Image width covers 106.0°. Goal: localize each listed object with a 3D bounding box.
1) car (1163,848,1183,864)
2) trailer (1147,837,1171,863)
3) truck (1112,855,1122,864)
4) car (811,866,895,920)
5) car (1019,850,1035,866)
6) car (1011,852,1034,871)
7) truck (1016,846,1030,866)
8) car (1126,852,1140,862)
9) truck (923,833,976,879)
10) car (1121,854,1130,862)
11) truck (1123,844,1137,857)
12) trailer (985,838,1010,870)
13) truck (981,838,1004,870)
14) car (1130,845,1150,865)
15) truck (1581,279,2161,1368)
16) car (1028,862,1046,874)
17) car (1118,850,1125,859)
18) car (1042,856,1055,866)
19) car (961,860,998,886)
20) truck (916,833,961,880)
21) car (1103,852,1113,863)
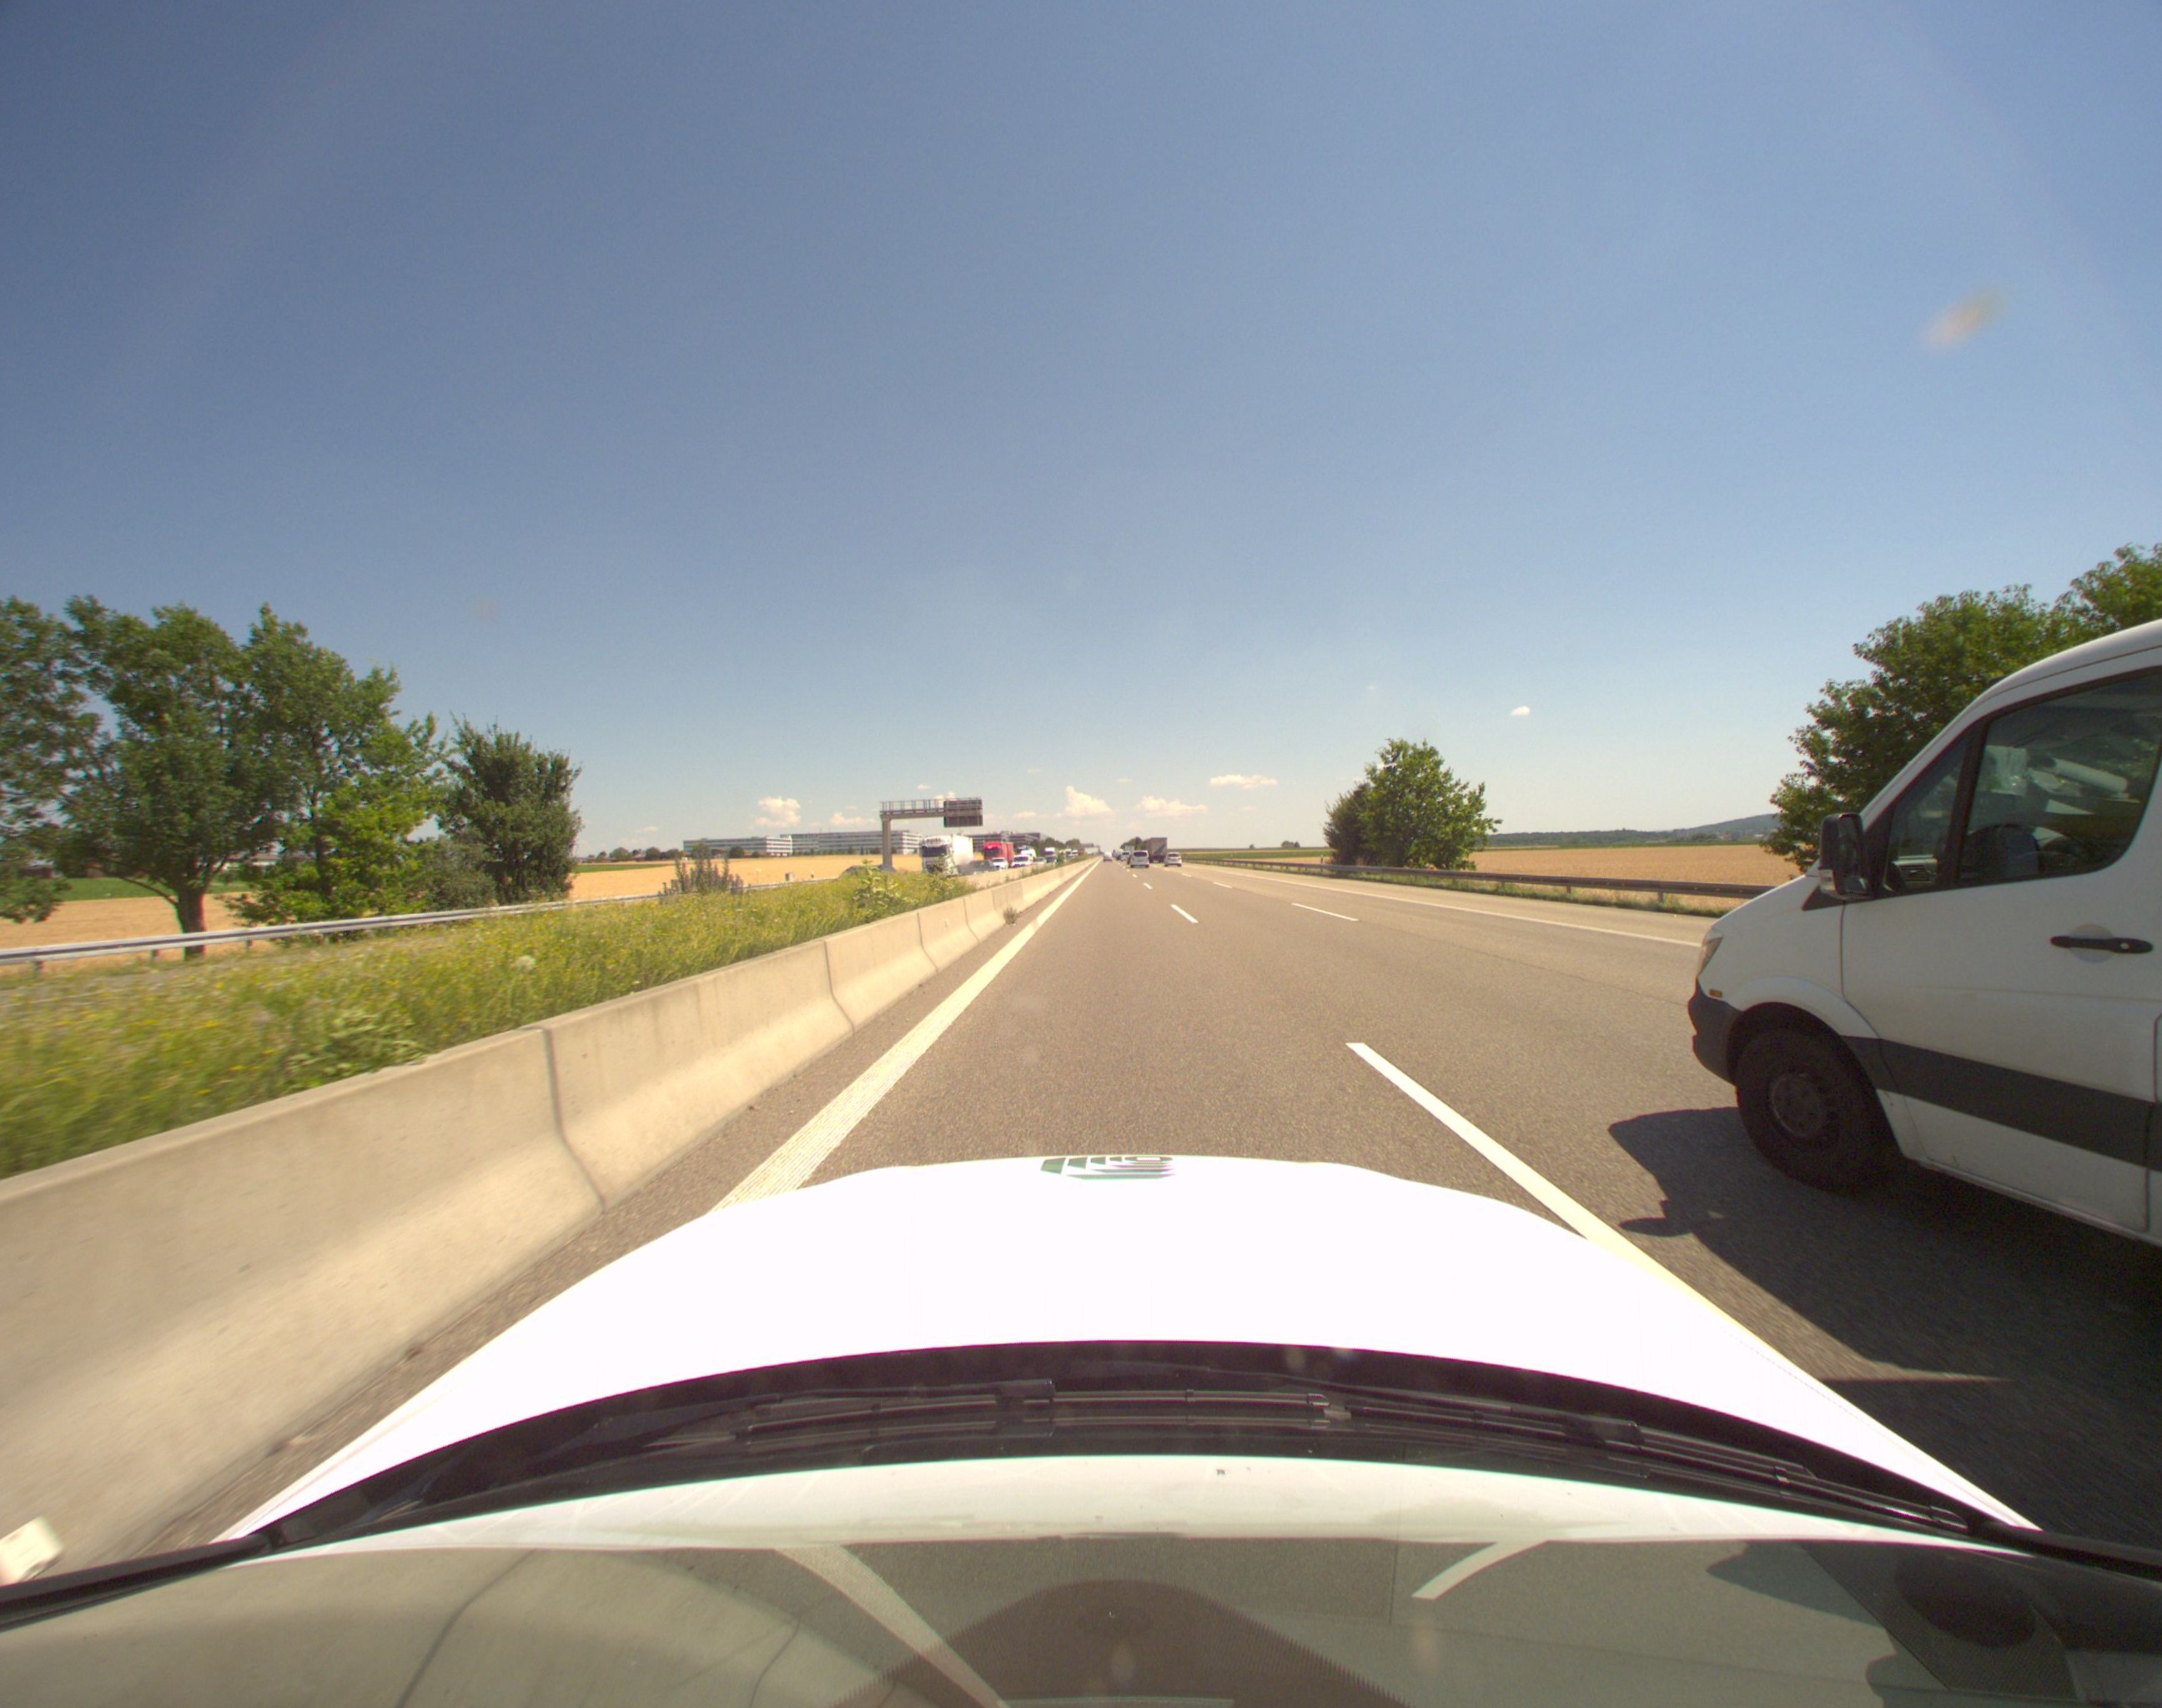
[{"bbox_3d":[10.719,0.245,94.941,1.986,1.794,4.001,-1,-1,2],"label":"car"},{"bbox_3d":[12.848,-0.576,134.465,3.265,3.967,9.115,-1,-1,2],"label":"trailer"},{"bbox_3d":[8.179,1.311,185.103,2.204,2.013,4.972,-2,0,1],"label":"truck"},{"bbox_3d":[-7.203,1.185,26.057,1.534,1.487,3.774,-2,0,1],"label":"car"},{"bbox_3d":[-8.143,0.593,123.589,1.853,2.336,5.708,-2,0,1],"label":"car"},{"bbox_3d":[-5.709,0.740,79.678,1.810,1.753,4.994,-2,0,1],"label":"car"},{"bbox_3d":[-11.218,0.405,157.796,2.102,3.600,7.122,-2,0,1],"label":"truck"},{"bbox_3d":[7.589,0.457,119.159,1.767,1.447,4.001,-1,-1,2],"label":"car"},{"bbox_3d":[-13.316,0.192,83.767,2.939,4.158,12.870,-3,0,1],"label":"truck"},{"bbox_3d":[9.028,0.814,164.531,1.767,1.447,4.001,-1,-1,2],"label":"car"},{"bbox_3d":[15.519,-1.047,257.623,3.802,3.905,9.583,-2,0,1],"label":"truck"},{"bbox_3d":[-12.784,-0.020,125.653,2.766,4.598,8.603,-2,0,1],"label":"trailer"},{"bbox_3d":[-12.893,-0.017,119.050,2.766,4.598,4.724,-2,0,1],"label":"truck"},{"bbox_3d":[6.391,0.150,88.333,1.986,2.120,4.001,-1,-1,2],"label":"car"},{"bbox_3d":[4.189,-0.087,1.641,2.313,3.067,6.752,0,0,1],"label":"truck"},{"bbox_3d":[-5.310,1.639,98.206,1.810,1.350,3.774,-2,0,1],"label":"car"},{"bbox_3d":[10.954,0.068,218.284,1.767,2.392,4.001,-1,-1,2],"label":"car"},{"bbox_3d":[-4.604,0.964,116.119,1.712,1.350,3.774,-2,0,1],"label":"car"},{"bbox_3d":[-6.367,1.168,51.381,1.667,1.487,4.398,-2,0,1],"label":"car"},{"bbox_3d":[-13.472,0.195,77.476,2.939,4.158,5.472,-3,0,1],"label":"truck"},{"bbox_3d":[5.266,0.693,160.185,1.986,2.014,4.001,-1,-1,2],"label":"car"}]
